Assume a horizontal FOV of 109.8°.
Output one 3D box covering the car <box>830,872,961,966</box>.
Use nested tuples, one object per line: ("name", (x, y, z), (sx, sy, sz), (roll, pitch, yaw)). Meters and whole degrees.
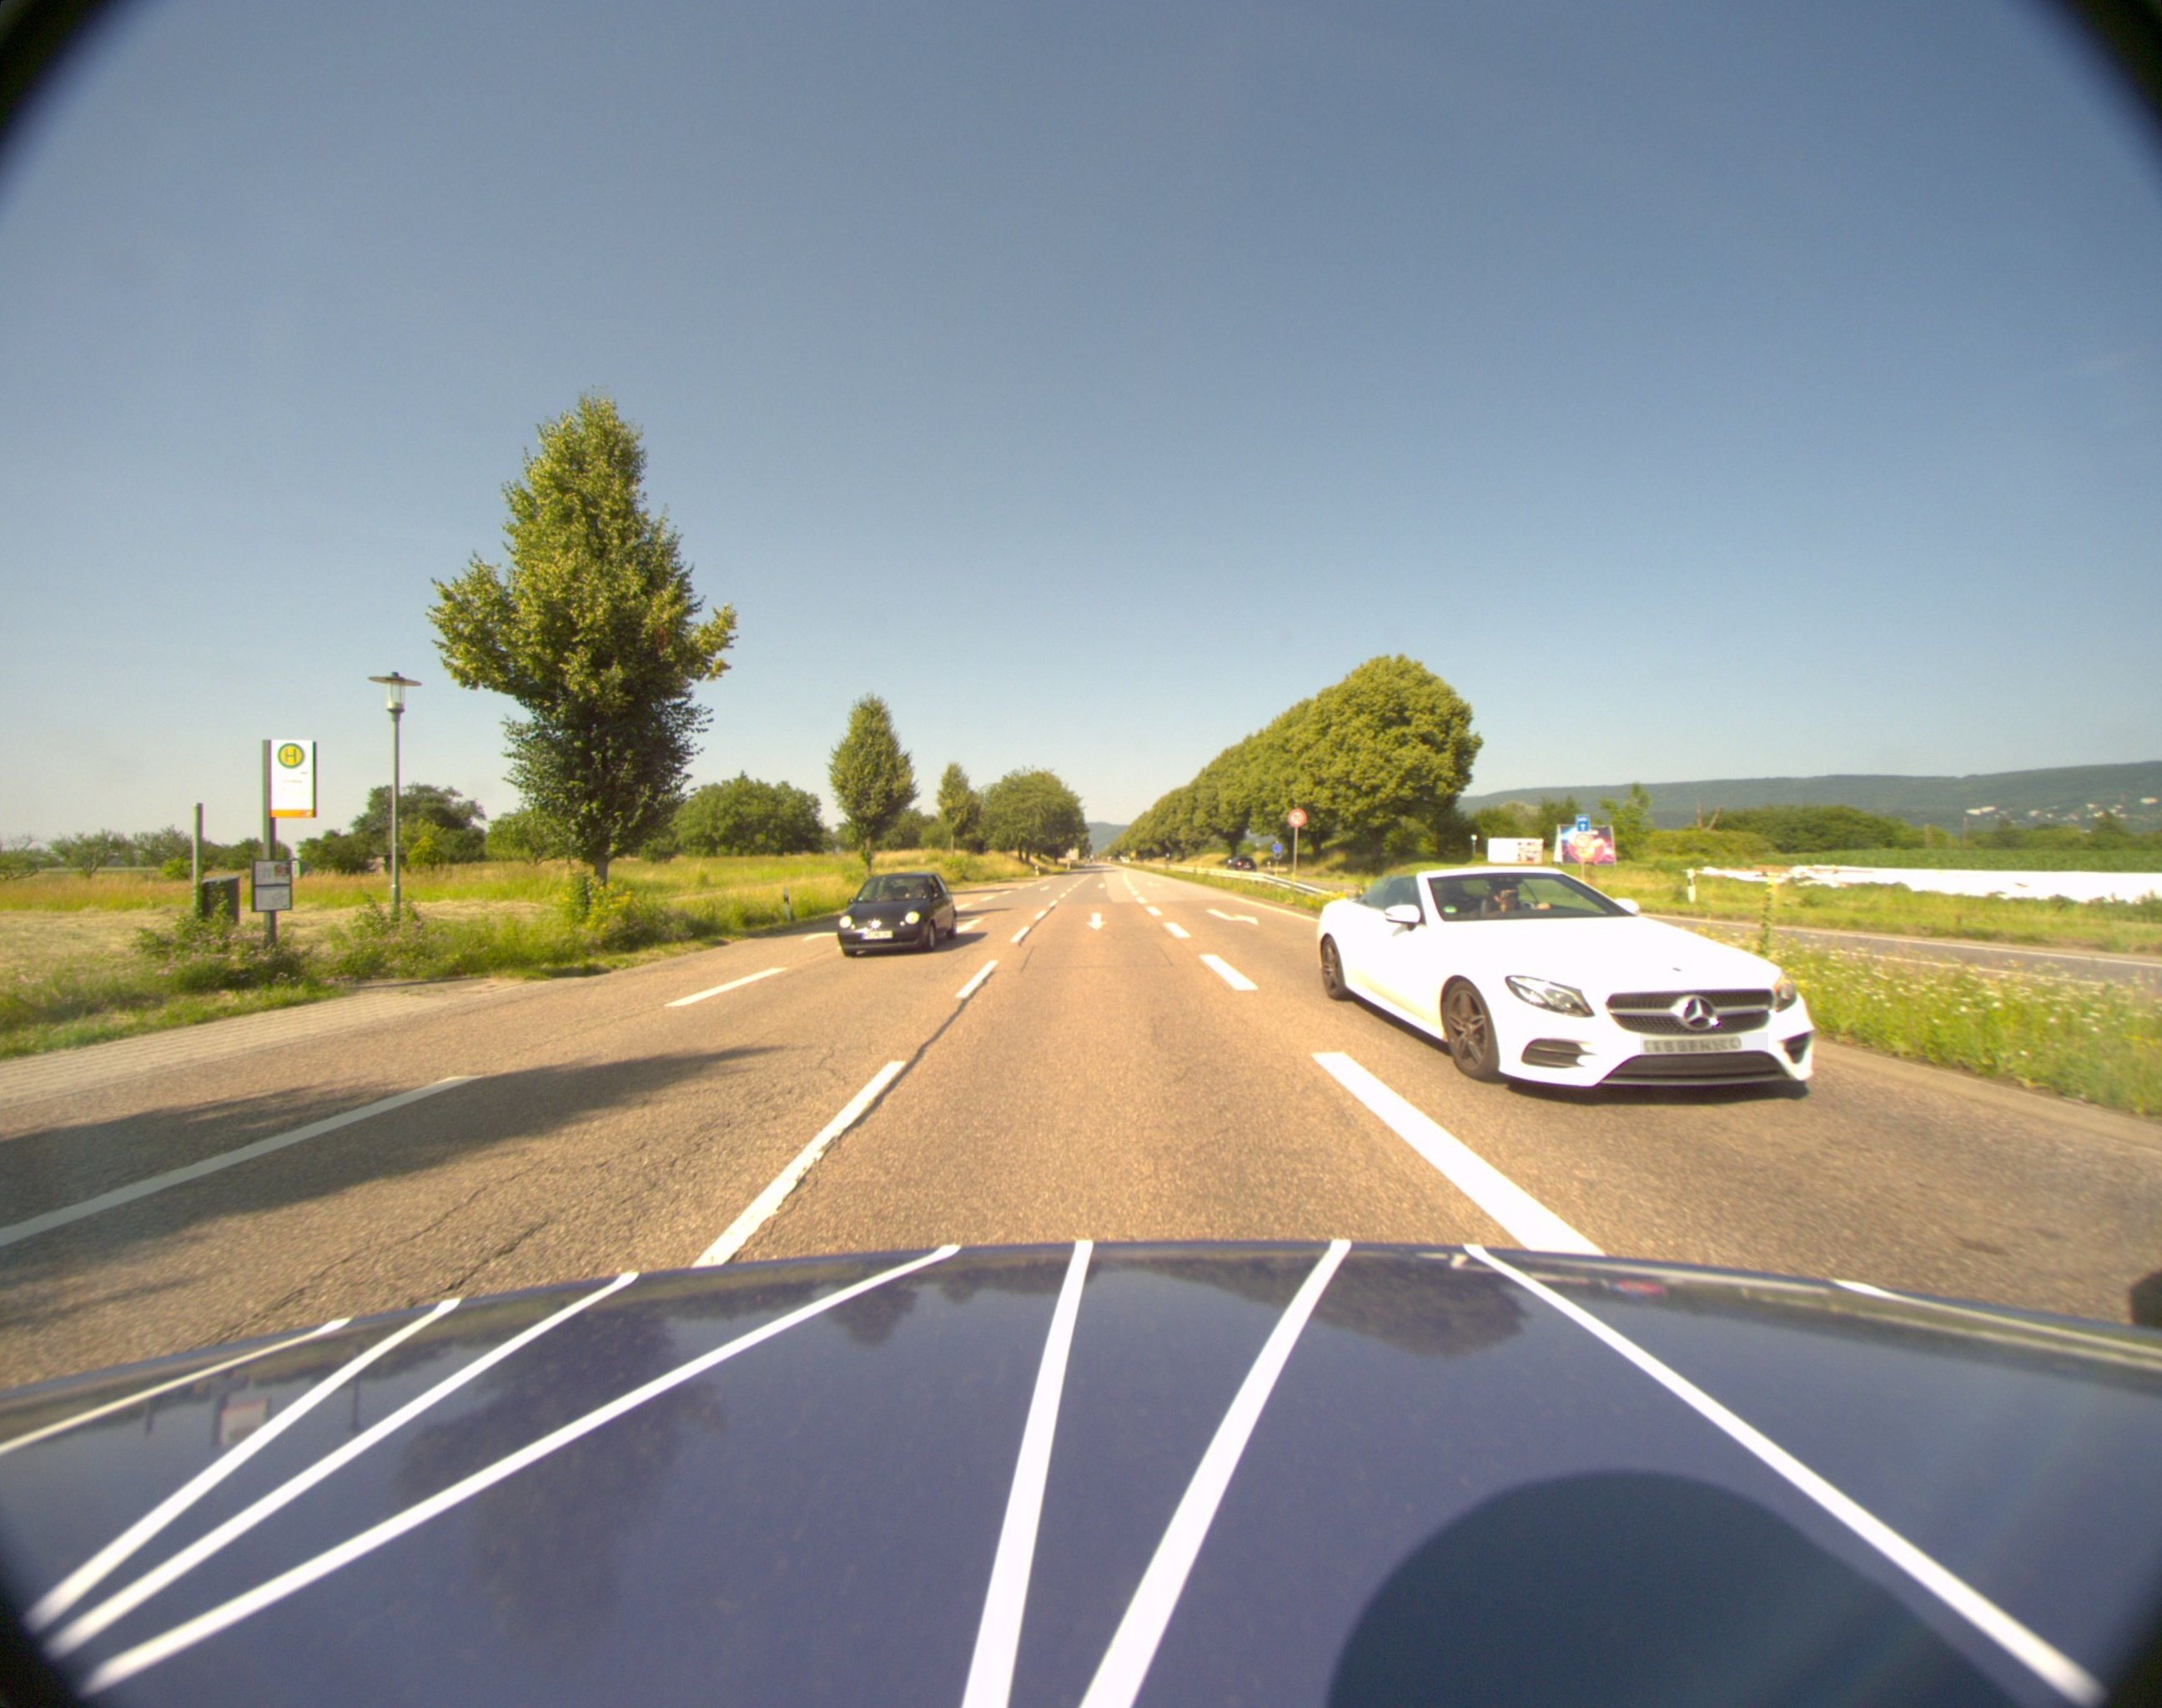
("car", (-3.396, 1.134, 14.550), (1.629, 1.425, 3.622), (-2, 0, -1))

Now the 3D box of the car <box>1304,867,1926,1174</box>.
("car", (3.380, 0.888, 6.161), (1.808, 1.417, 4.641), (-2, 0, 1))

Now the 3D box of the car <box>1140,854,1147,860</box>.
("car", (17.081, 0.789, 207.447), (1.726, 1.456, 3.700), (1, 0, 2))

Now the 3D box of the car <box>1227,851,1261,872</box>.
("car", (14.786, 0.668, 69.186), (1.999, 1.829, 4.953), (1, 0, -1))

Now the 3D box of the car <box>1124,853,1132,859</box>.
("car", (12.829, 0.582, 208.588), (1.998, 1.791, 4.000), (-1, 0, 2))
